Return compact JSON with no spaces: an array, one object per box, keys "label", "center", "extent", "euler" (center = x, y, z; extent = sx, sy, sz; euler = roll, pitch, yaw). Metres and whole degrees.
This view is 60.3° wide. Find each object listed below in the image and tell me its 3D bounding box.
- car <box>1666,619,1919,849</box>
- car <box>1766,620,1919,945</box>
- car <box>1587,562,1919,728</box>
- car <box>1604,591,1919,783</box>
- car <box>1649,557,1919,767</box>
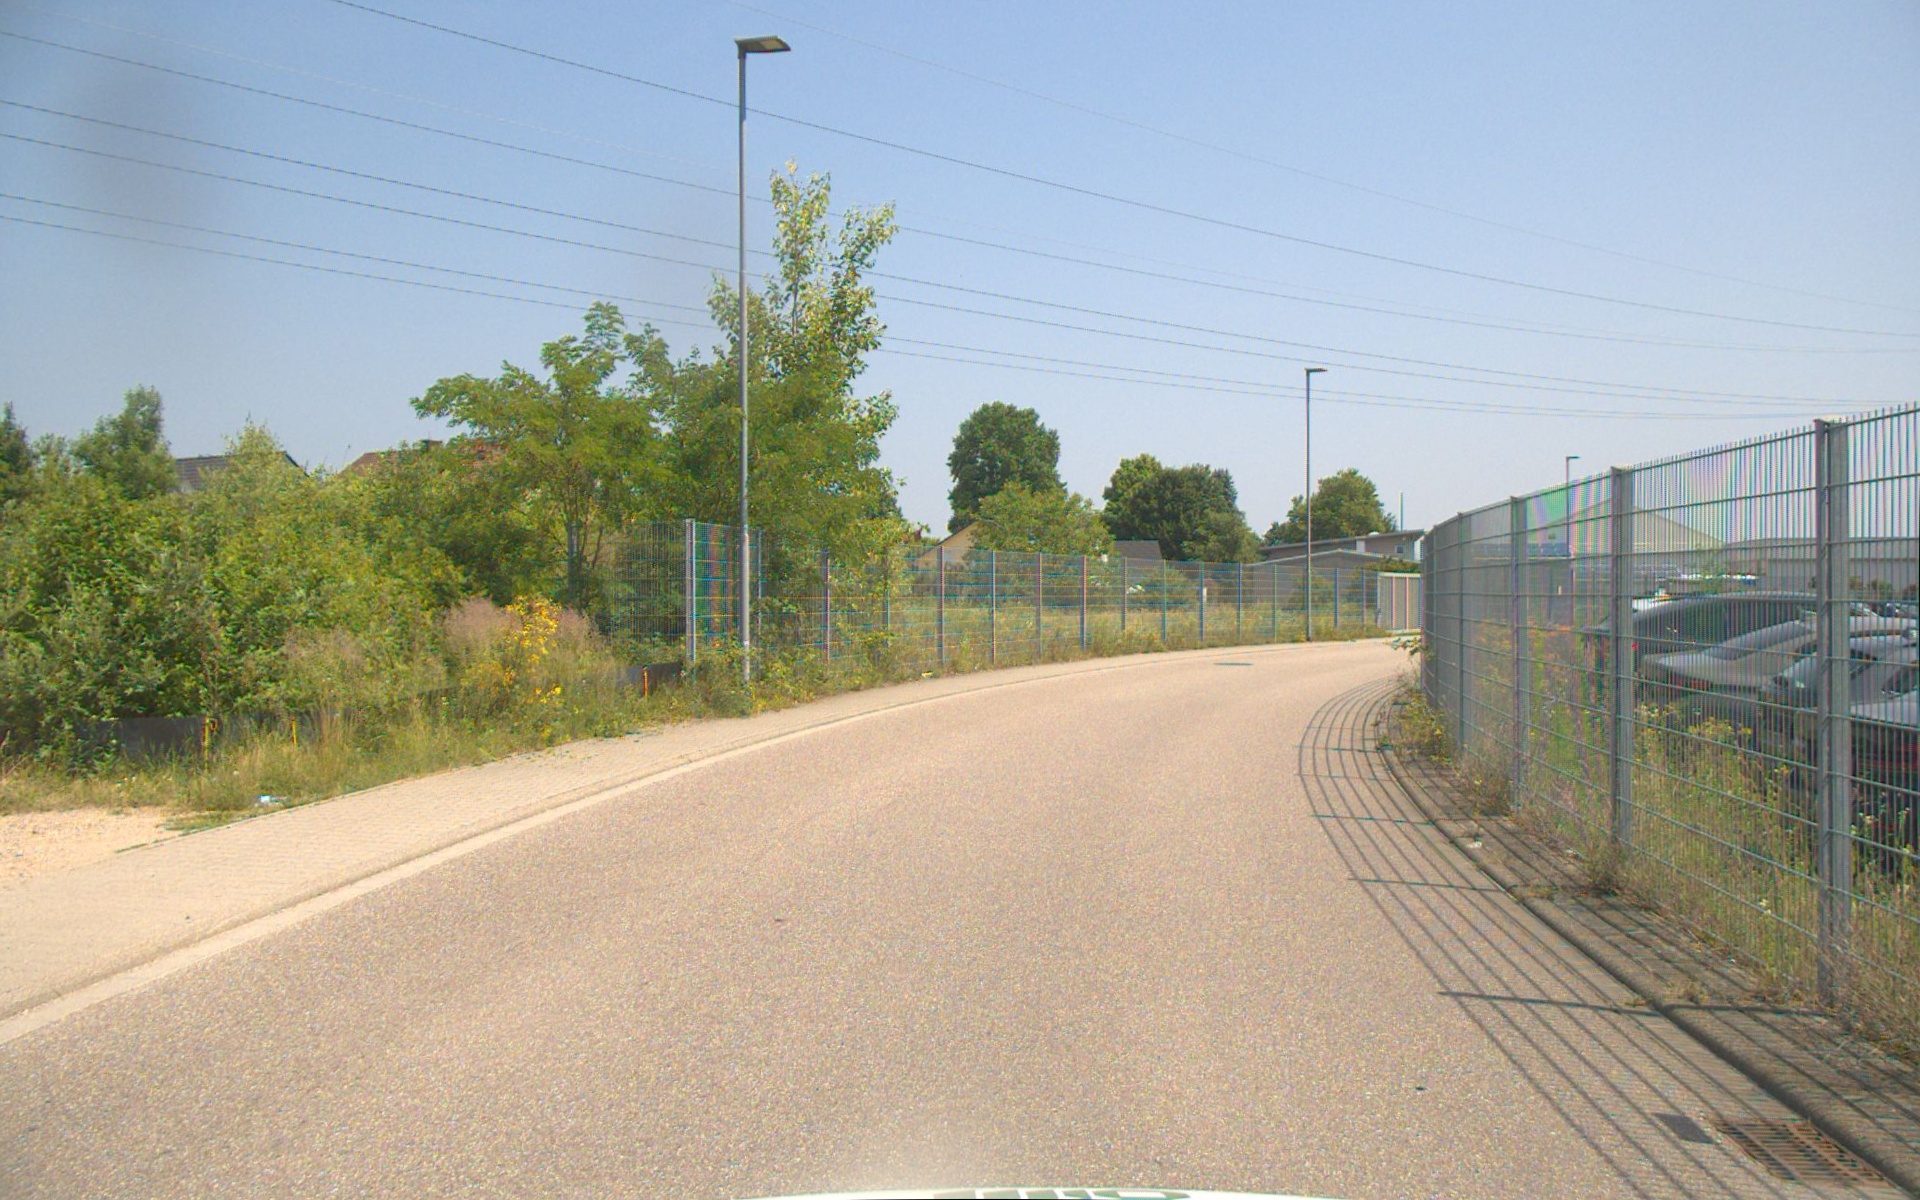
[{"label":"car","center":[7.259,0.846,11.068],"extent":[4.373,1.405,1.725],"euler":[-1,0,11]},{"label":"car","center":[6.440,0.874,7.855],"extent":[4.369,1.405,1.725],"euler":[1,1,11]},{"label":"car","center":[9.058,0.455,18.103],"extent":[4.035,1.699,1.724],"euler":[-1,0,19]},{"label":"car","center":[8.522,0.782,15.734],"extent":[4.376,1.699,1.724],"euler":[-1,0,19]},{"label":"car","center":[8.073,0.460,13.427],"extent":[4.374,1.610,1.797],"euler":[-1,0,16]}]
